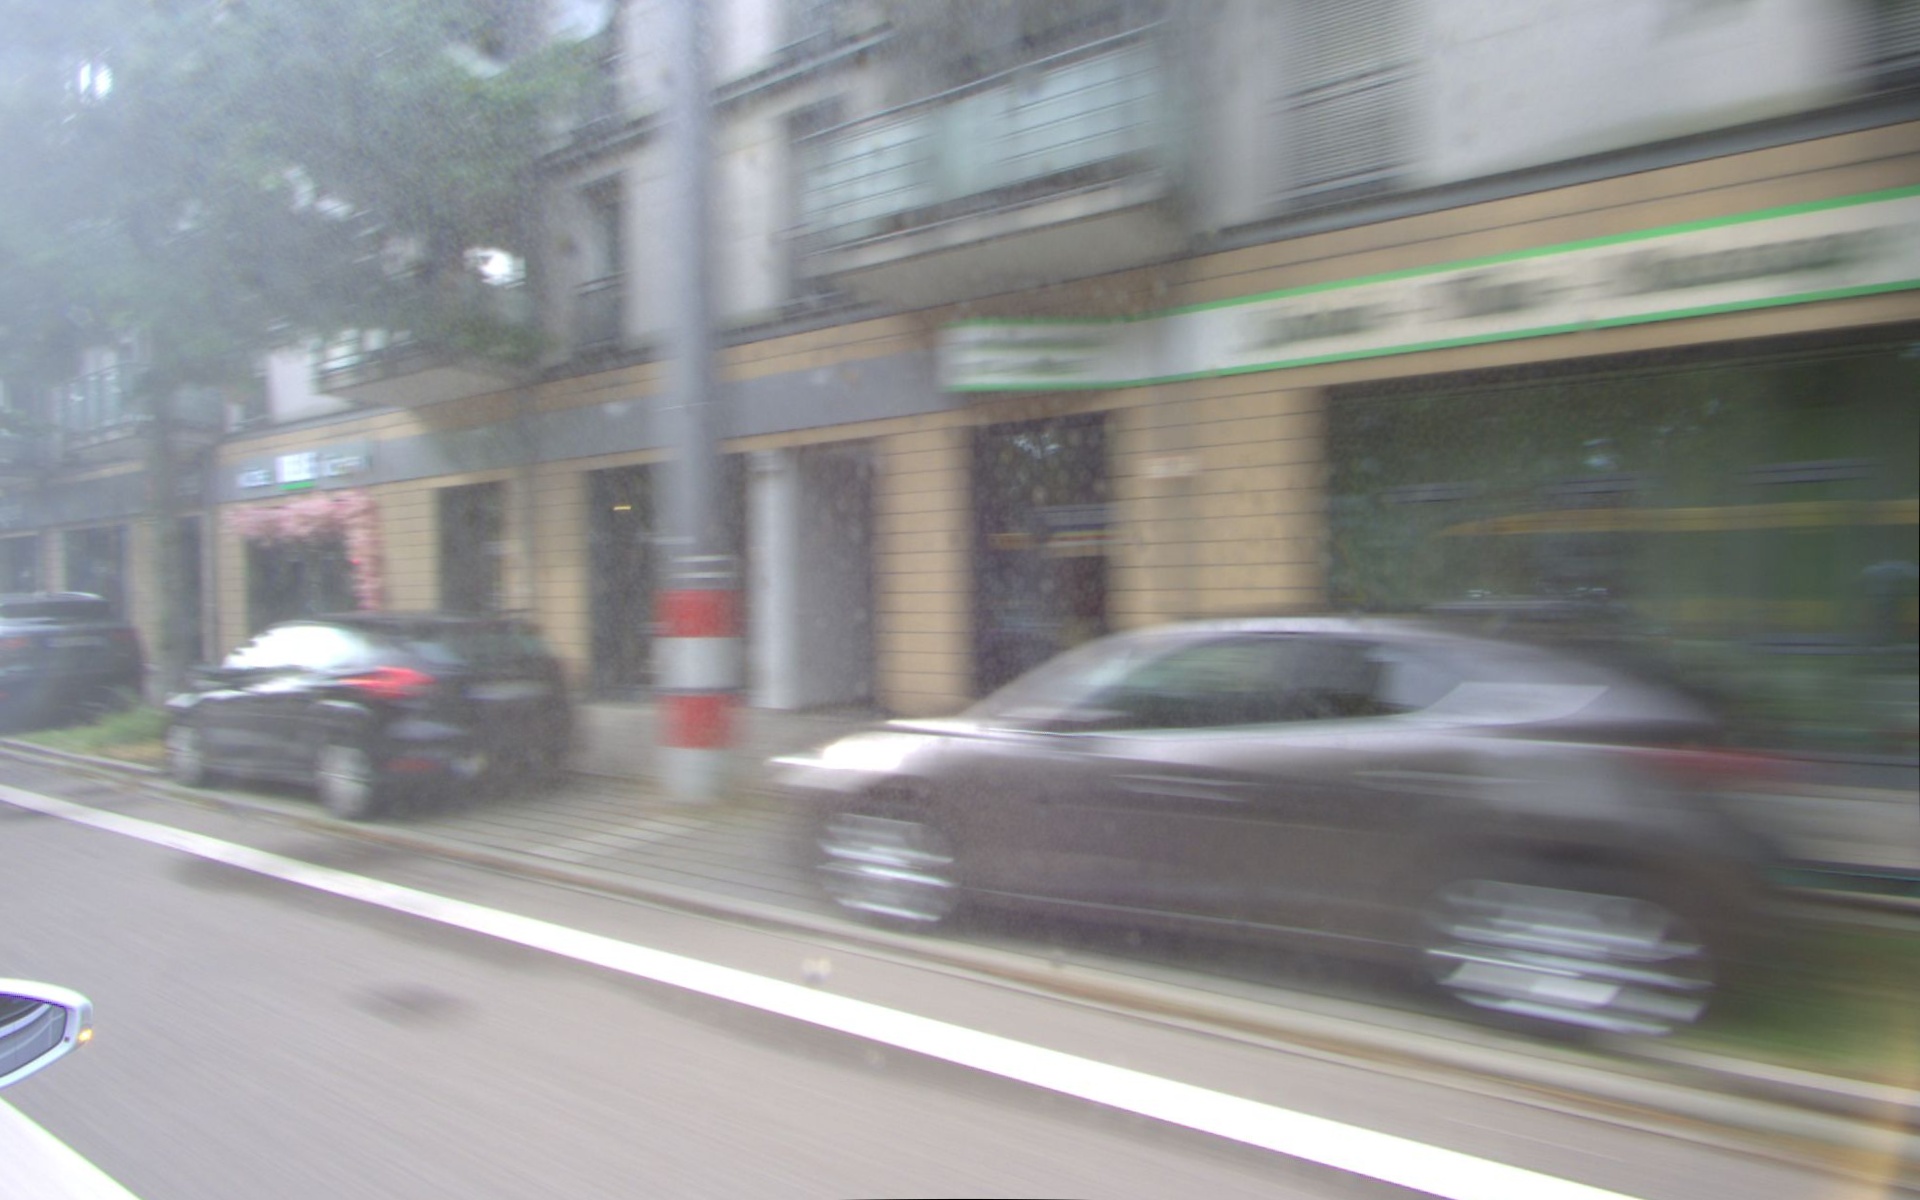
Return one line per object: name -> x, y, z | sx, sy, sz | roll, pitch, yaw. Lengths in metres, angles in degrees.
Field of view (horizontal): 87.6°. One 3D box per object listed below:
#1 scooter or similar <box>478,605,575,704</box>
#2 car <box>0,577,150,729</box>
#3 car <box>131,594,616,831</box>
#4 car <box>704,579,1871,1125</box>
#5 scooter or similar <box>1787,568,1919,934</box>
scooter or similar -> -5.628, 0.683, 12.981 | 1.196, 1.217, 0.515 | 0, 3, 32
car -> -12.862, 0.622, 13.292 | 4.642, 1.741, 1.708 | 0, 3, 31
car -> -4.966, 0.725, 8.293 | 4.346, 1.462, 1.671 | 0, 3, 33
car -> 1.068, 0.703, 4.630 | 4.323, 1.475, 1.794 | 0, 3, 30
scooter or similar -> 4.263, 0.601, 4.064 | 1.323, 1.474, 0.513 | 0, 2, 33
